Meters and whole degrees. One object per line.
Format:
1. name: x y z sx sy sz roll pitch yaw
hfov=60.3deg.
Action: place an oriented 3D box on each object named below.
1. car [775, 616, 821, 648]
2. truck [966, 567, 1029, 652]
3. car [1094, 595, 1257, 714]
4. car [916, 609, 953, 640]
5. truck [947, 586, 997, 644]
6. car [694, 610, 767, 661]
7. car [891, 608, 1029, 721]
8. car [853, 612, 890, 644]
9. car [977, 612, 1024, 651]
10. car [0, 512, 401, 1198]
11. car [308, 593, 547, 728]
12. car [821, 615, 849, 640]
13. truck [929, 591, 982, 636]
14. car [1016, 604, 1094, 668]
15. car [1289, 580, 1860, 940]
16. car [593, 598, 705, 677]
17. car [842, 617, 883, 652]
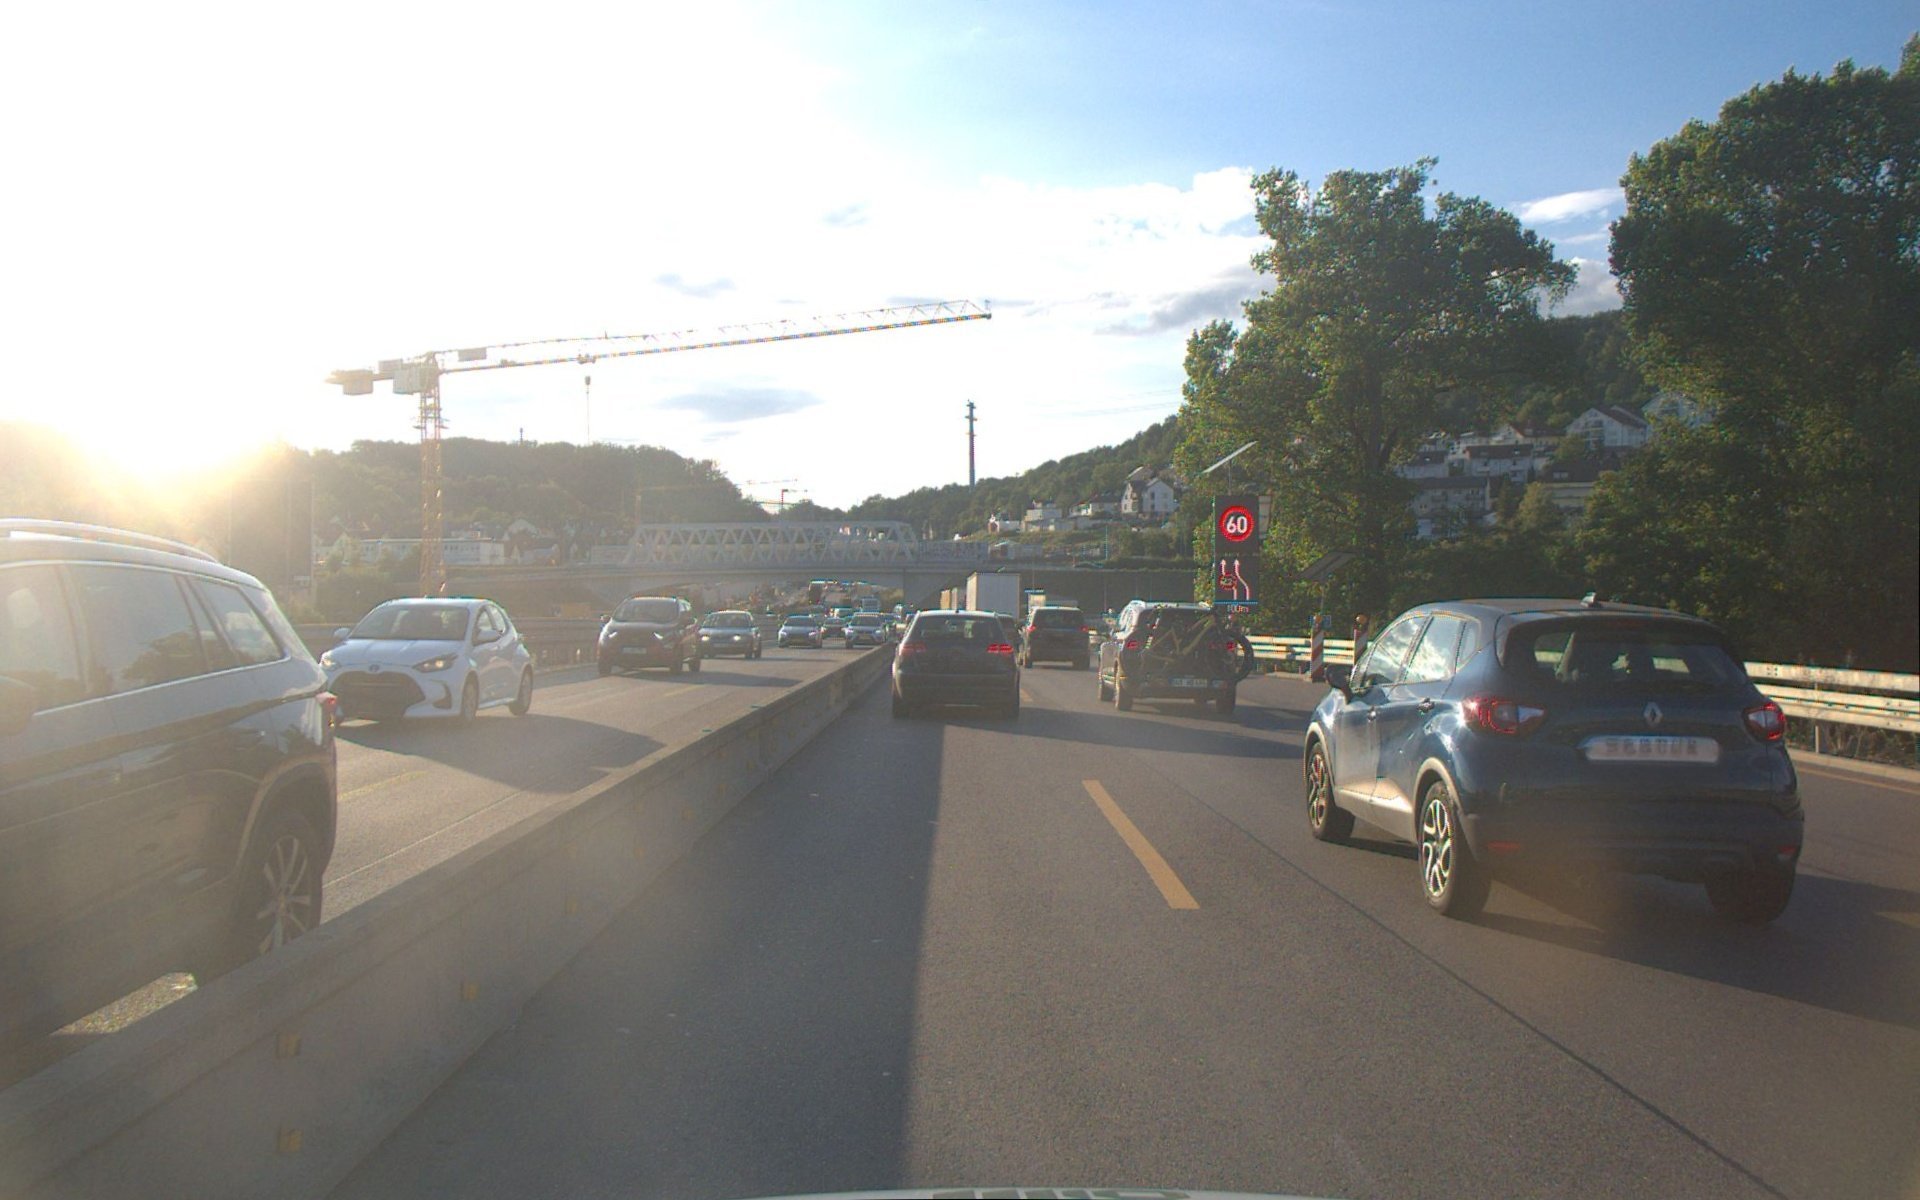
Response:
1. car: -7.330 1.443 75.180 1.738 1.407 4.530 0 -1 -1
2. truck: 2.100 0.356 99.054 3.316 4.576 15.268 1 1 0
3. car: 3.154 0.774 25.163 1.837 1.627 4.965 0 -1 0
4. car: -1.332 1.222 84.856 1.730 1.512 3.997 2 -1 -3
5. truck: 0.902 1.144 140.283 3.811 4.577 15.263 1 0 -1
6. car: -7.096 1.075 51.474 1.643 1.447 4.578 1 0 -1
7. car: -0.081 0.839 23.172 1.734 1.414 3.998 1 0 -3
8. car: -5.058 1.601 94.921 1.953 1.789 4.658 0 -1 -2
9. car: 1.725 1.327 71.524 1.734 1.580 3.998 2 -1 -3
10. car: -3.310 0.606 4.626 1.953 1.673 4.511 1 0 0
11. car: -6.330 0.658 20.106 1.666 1.471 3.999 0 0 -1
12. car: -8.499 1.855 112.567 1.676 1.579 3.999 -1 0 -1
13. truck: -0.592 1.364 180.623 3.818 4.577 13.822 1 0 -8
14. car: 2.588 0.978 45.913 1.778 1.661 4.409 1 -1 -2
15. car: 3.212 0.727 9.596 1.738 1.614 4.134 1 0 0
16. car: -6.687 0.773 35.938 1.744 1.598 3.999 0 0 -1
17. car: -4.422 1.565 75.513 1.768 1.538 3.999 0 0 -2
